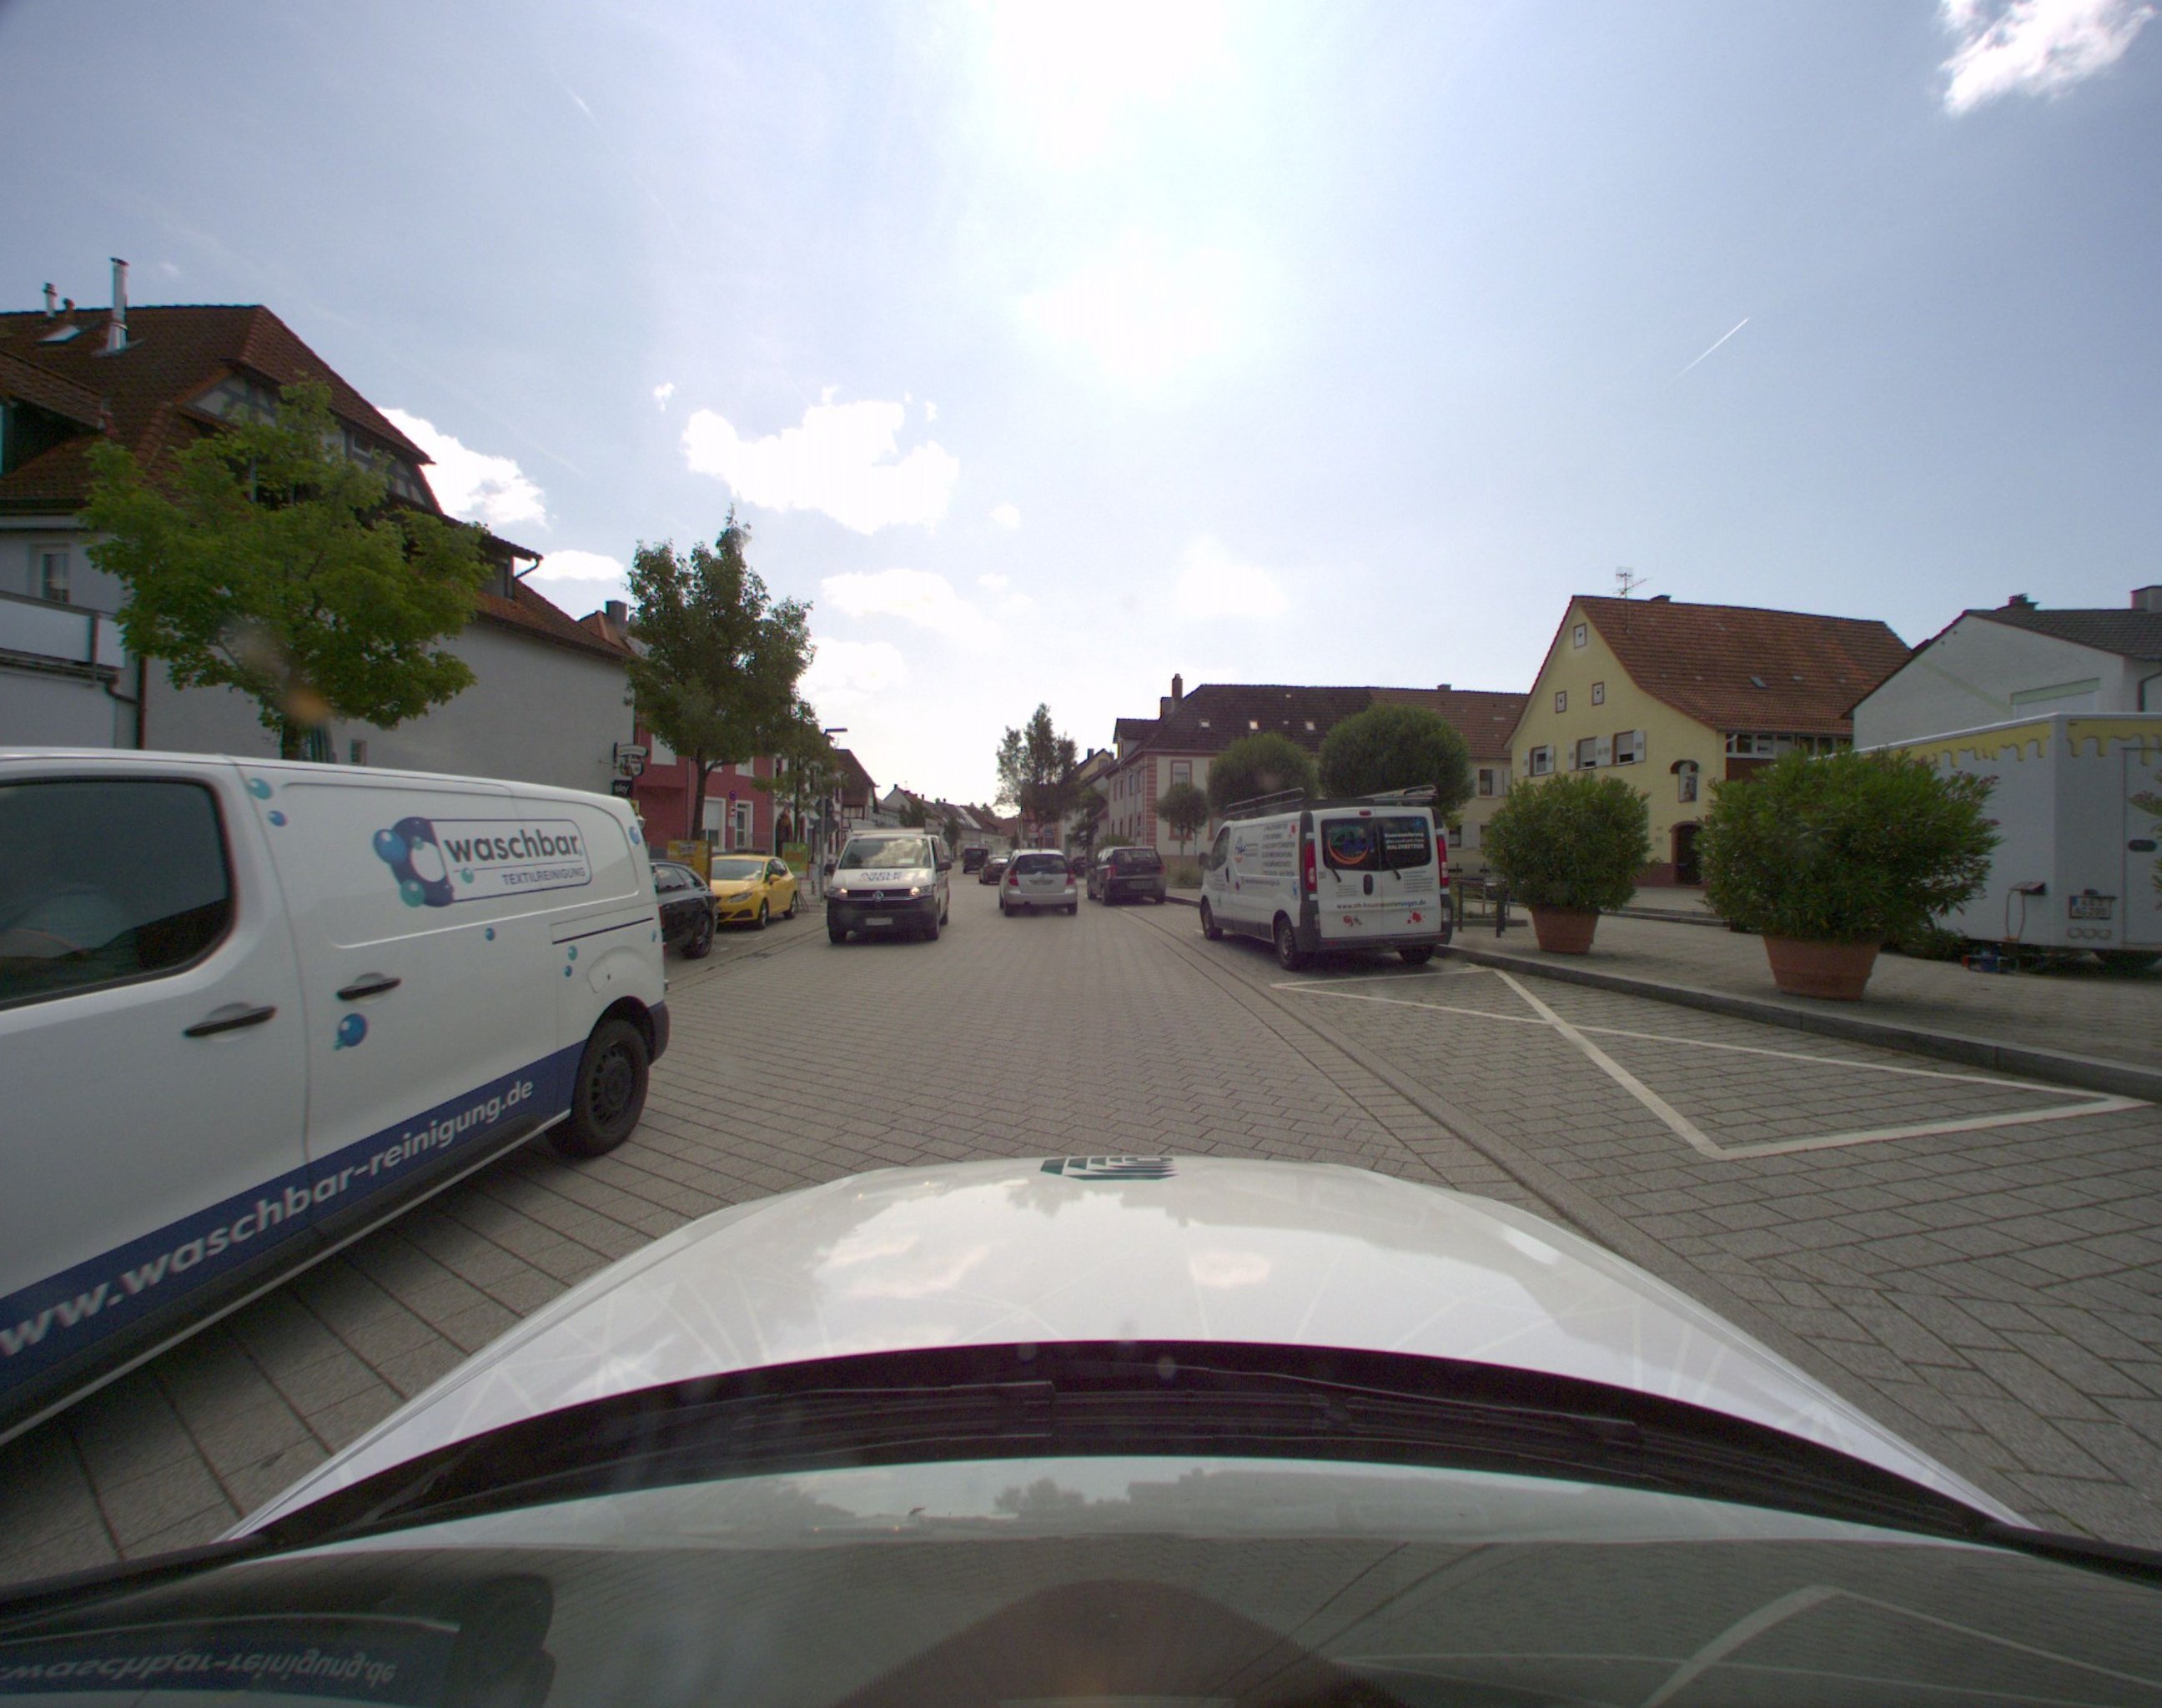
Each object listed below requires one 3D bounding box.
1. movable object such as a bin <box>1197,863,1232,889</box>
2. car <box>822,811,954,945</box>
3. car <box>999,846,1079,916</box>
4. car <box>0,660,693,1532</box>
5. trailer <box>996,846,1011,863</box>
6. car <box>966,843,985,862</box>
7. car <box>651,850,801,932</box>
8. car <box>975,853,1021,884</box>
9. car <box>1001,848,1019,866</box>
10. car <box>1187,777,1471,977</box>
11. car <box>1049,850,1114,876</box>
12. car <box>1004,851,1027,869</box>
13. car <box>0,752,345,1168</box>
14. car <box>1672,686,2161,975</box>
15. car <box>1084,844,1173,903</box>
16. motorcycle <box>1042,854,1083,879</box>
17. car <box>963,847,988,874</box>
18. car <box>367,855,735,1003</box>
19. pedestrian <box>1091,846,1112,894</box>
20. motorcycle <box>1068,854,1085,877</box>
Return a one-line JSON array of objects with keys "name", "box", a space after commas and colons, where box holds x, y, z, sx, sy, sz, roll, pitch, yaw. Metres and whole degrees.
[{"name": "movable object such as a bin", "box": [4.567, 0.738, 27.895, 0.735, 0.866, 1.430, 1, 0, -11]}, {"name": "car", "box": [-3.561, 0.388, 15.923, 1.885, 2.186, 5.019, 0, 0, -6]}, {"name": "car", "box": [-1.168, 0.609, 20.915, 1.767, 1.594, 3.990, -1, 0, -7]}, {"name": "car", "box": [-3.334, 0.516, 2.522, 1.988, 1.880, 4.864, 0, 0, -1]}, {"name": "trailer", "box": [-10.774, 0.084, 113.472, 1.844, 2.354, 3.579, 0, 0, -8]}, {"name": "car", "box": [-12.800, -0.149, 98.855, 2.234, 2.222, 3.990, -1, -1, -7]}, {"name": "car", "box": [-7.066, 0.655, 16.653, 1.666, 1.474, 3.955, 0, 0, -6]}, {"name": "car", "box": [-4.068, 0.678, 39.294, 1.945, 1.407, 3.987, 0, 0, -10]}, {"name": "car", "box": [-8.639, 0.343, 99.116, 1.891, 1.982, 4.917, -2, 0, -8]}, {"name": "car", "box": [3.143, 0.243, 11.684, 1.941, 2.177, 5.088, -2, 0, -7]}, {"name": "car", "box": [0.023, 0.565, 52.584, 3.851, 1.577, 1.843, -1, 0, -12]}, {"name": "car", "box": [-6.343, 0.596, 78.079, 1.992, 1.680, 4.311, 0, 0, -8]}, {"name": "car", "box": [-6.127, 0.505, 3.219, 1.981, 1.990, 5.039, 0, 0, -3]}, {"name": "car", "box": [12.055, -0.200, 11.830, 2.736, 2.963, 7.132, 1, 0, 10]}, {"name": "car", "box": [1.267, 0.514, 23.694, 1.768, 1.564, 4.406, 0, 0, -8]}, {"name": "motorcycle", "box": [-1.052, 0.689, 46.081, 2.197, 1.395, 0.878, 0, 0, 35]}, {"name": "car", "box": [-8.063, 0.520, 62.571, 1.767, 1.888, 4.436, 3, -1, -7]}, {"name": "car", "box": [-6.180, 0.747, 10.294, 1.811, 1.423, 4.533, 0, 0, -3]}, {"name": "pedestrian", "box": [0.688, 0.533, 27.793, 0.638, 1.629, 0.619, 0, 0, -6]}, {"name": "motorcycle", "box": [-0.259, 0.661, 48.275, 0.956, 1.298, 2.225, -2, 0, 0]}]
